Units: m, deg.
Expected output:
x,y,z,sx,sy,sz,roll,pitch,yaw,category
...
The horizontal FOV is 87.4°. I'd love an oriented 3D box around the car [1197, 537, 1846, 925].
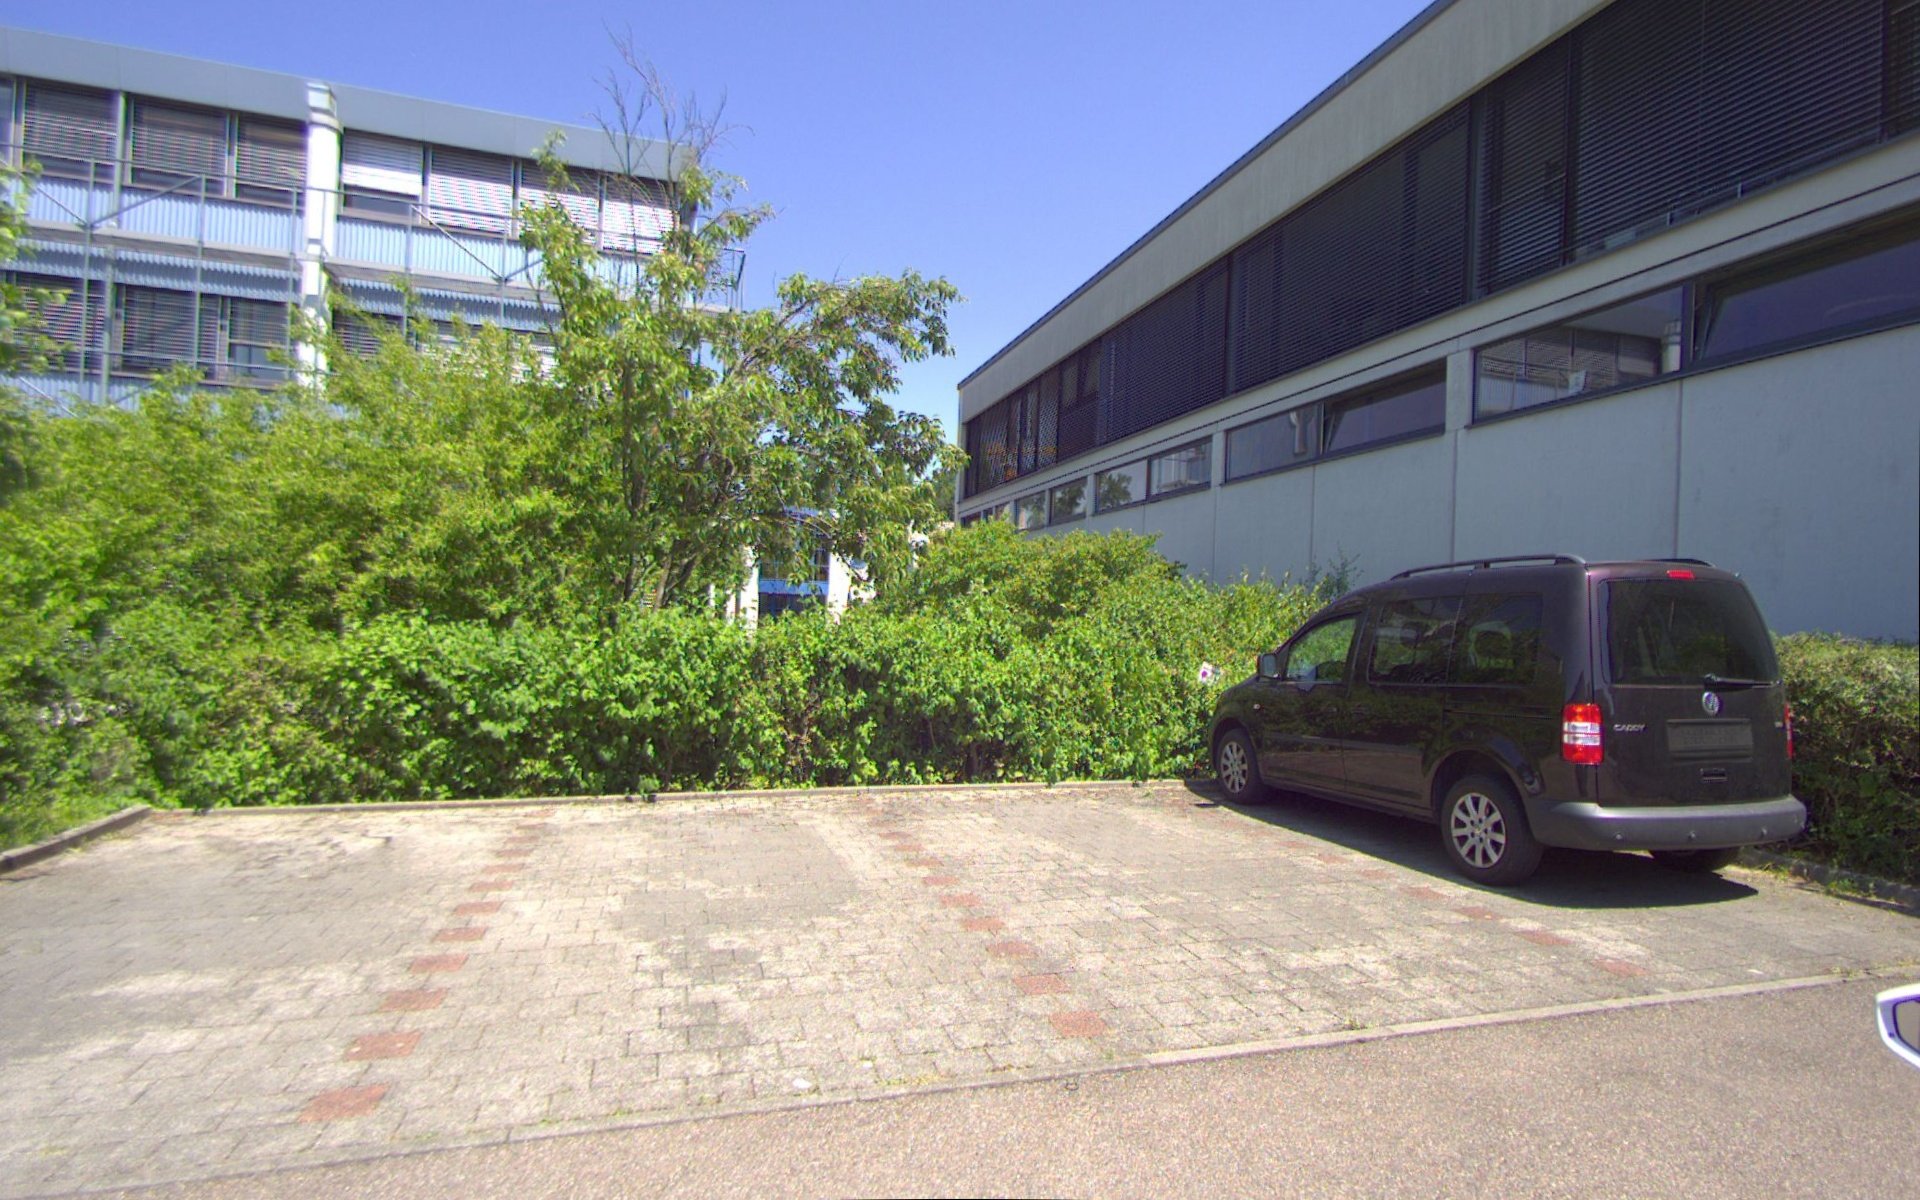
x,y,z,sx,sy,sz,roll,pitch,yaw,category
3.431,0.685,7.137,1.651,1.909,4.059,2,-1,-15,car
